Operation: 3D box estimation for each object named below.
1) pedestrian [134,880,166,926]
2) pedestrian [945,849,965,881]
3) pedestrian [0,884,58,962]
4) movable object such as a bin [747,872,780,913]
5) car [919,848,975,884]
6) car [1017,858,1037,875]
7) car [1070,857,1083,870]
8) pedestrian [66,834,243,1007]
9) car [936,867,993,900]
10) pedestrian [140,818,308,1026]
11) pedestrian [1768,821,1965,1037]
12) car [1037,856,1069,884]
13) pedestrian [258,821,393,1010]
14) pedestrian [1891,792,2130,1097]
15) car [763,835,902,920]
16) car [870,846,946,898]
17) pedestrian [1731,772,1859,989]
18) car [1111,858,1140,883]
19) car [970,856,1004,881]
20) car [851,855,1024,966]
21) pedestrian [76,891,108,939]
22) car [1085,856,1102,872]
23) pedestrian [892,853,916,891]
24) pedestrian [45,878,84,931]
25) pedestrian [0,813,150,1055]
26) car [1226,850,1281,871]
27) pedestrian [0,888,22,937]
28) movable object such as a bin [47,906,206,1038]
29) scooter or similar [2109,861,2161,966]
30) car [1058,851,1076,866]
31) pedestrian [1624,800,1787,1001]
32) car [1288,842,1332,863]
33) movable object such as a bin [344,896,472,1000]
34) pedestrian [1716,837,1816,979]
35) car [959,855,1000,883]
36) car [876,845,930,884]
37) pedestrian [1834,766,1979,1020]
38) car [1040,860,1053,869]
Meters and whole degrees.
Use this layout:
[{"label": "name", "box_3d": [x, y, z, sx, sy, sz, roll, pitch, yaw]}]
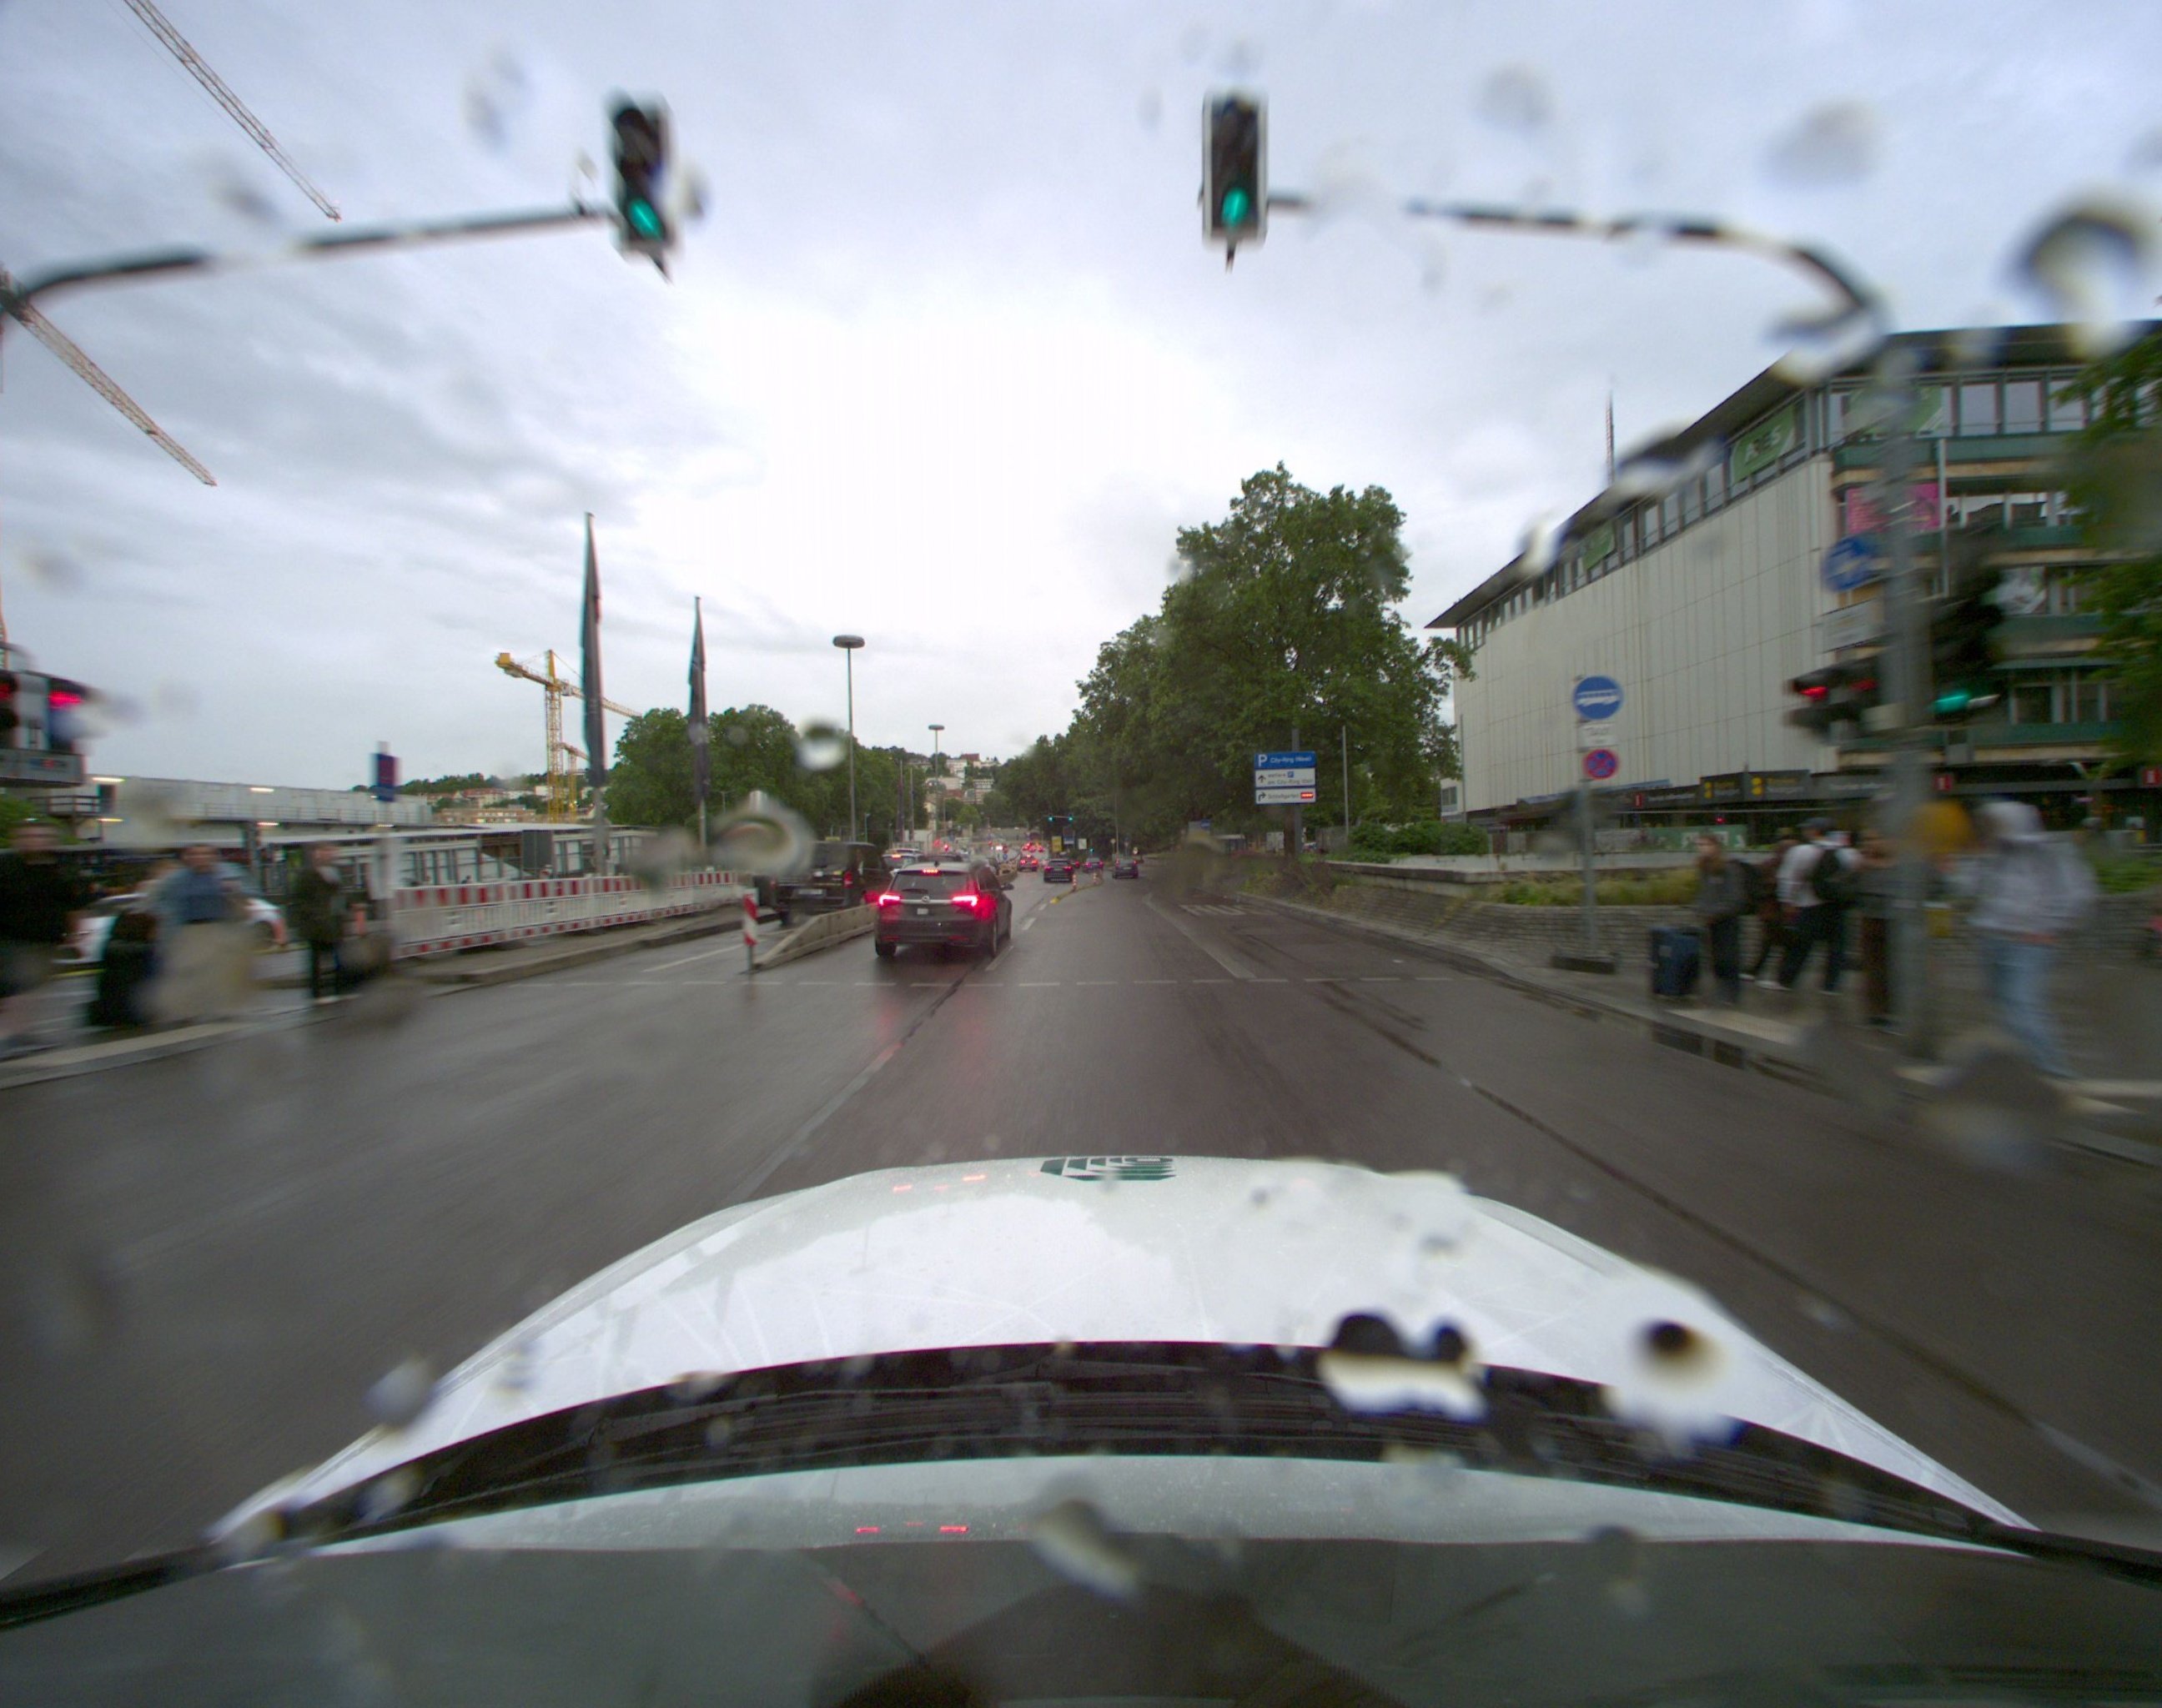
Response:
[{"label": "pedestrian", "box_3d": [-39.402, 2.077, 34.462, 0.487, 1.881, 0.801, -3, -2, 32]}, {"label": "pedestrian", "box_3d": [-8.268, 0.720, 53.382, 1.018, 2.013, 0.839, -1, 0, 11]}, {"label": "pedestrian", "box_3d": [-26.740, 1.739, 20.685, 0.708, 1.881, 0.865, -3, -2, 32]}, {"label": "movable object such as a bin", "box_3d": [-9.246, 1.121, 23.755, 0.669, 1.161, 0.766, 1, -1, -4]}, {"label": "car", "box_3d": [-5.864, 0.522, 36.131, 1.818, 1.511, 4.488, 0, -1, -1]}, {"label": "car", "box_3d": [-6.080, 1.420, 91.777, 1.992, 1.827, 3.989, 0, -1, -8]}, {"label": "car", "box_3d": [-0.589, 1.296, 110.676, 1.630, 1.624, 3.791, 0, -1, -2]}, {"label": "pedestrian", "box_3d": [-10.651, 0.730, 9.406, 0.829, 1.881, 1.029, -1, 0, 4]}, {"label": "car", "box_3d": [-5.798, 1.440, 41.080, 1.965, 1.511, 5.008, 0, -1, 2]}, {"label": "pedestrian", "box_3d": [-8.358, 0.629, 7.959, 0.995, 1.886, 0.822, -2, 0, 25]}, {"label": "pedestrian", "box_3d": [6.549, 0.594, 6.841, 0.871, 1.691, 0.759, -2, 0, 2]}, {"label": "car", "box_3d": [-1.734, 1.000, 51.829, 1.824, 1.686, 4.134, -2, 0, 1]}, {"label": "pedestrian", "box_3d": [-8.010, 0.623, 8.643, 0.995, 1.886, 0.687, -2, -1, 25]}, {"label": "pedestrian", "box_3d": [5.984, 0.536, 5.279, 0.746, 1.805, 0.706, -1, -1, -12]}, {"label": "car", "box_3d": [-5.962, 0.541, 20.230, 1.988, 1.845, 5.059, 0, -1, -1]}, {"label": "car", "box_3d": [-6.108, 0.612, 29.280, 1.818, 1.696, 4.771, 0, -1, -1]}, {"label": "pedestrian", "box_3d": [7.423, 0.268, 8.503, 0.703, 2.146, 0.724, -2, -1, 16]}, {"label": "car", "box_3d": [3.076, 1.125, 57.042, 1.845, 1.717, 4.000, 0, -1, 1]}, {"label": "car", "box_3d": [-6.501, 0.992, 56.818, 1.989, 1.530, 4.148, -3, -1, -3]}, {"label": "car", "box_3d": [-2.166, 0.800, 13.726, 1.870, 1.508, 4.854, -1, 0, 2]}, {"label": "pedestrian", "box_3d": [-40.518, 2.495, 33.376, 0.632, 1.881, 0.737, -3, -2, 32]}, {"label": "car", "box_3d": [1.283, 1.027, 83.194, 1.668, 1.581, 3.241, 0, -1, 2]}, {"label": "pedestrian", "box_3d": [-8.419, 0.839, 38.716, 0.829, 1.784, 1.029, -1, 0, 4]}, {"label": "pedestrian", "box_3d": [-37.339, 1.838, 29.924, 0.653, 1.881, 0.806, -3, -2, 32]}, {"label": "pedestrian", "box_3d": [-8.527, 0.630, 6.720, 0.829, 1.886, 0.689, -2, 0, -8]}, {"label": "car", "box_3d": [12.567, 0.472, 59.455, 3.573, 1.506, 1.745, -1, -1, 41]}, {"label": "pedestrian", "box_3d": [-42.656, 2.319, 32.253, 0.651, 1.881, 0.809, -3, -2, 32]}, {"label": "movable object such as a bin", "box_3d": [-8.694, 1.034, 7.434, 0.736, 1.076, 0.753, -2, 0, 25]}, {"label": "scooter or similar", "box_3d": [12.715, 0.694, 9.356, 0.350, 1.217, 1.158, 0, -1, 1]}, {"label": "car", "box_3d": [-1.541, 0.547, 93.017, 1.897, 1.717, 4.000, 0, -1, 1]}, {"label": "pedestrian", "box_3d": [6.113, 0.426, 8.019, 0.787, 1.839, 0.946, -1, -1, -12]}, {"label": "car", "box_3d": [22.522, -0.105, 80.119, 4.675, 2.014, 2.107, 0, -1, -44]}, {"label": "movable object such as a bin", "box_3d": [-7.681, 1.041, 9.305, 0.995, 1.076, 0.753, -2, 0, 25]}, {"label": "pedestrian", "box_3d": [7.763, 0.592, 9.259, 0.651, 1.555, 0.637, -1, -1, 16]}, {"label": "car", "box_3d": [-6.370, 0.929, 51.547, 1.988, 1.567, 4.873, -3, -1, -1]}, {"label": "car", "box_3d": [-9.733, 0.587, 44.835, 1.989, 2.014, 5.364, 0, -1, -2]}, {"label": "pedestrian", "box_3d": [7.365, 0.326, 7.289, 0.554, 2.146, 0.665, -1, -1, -12]}, {"label": "car", "box_3d": [-5.813, 1.731, 136.773, 1.813, 1.574, 3.989, 0, -1, -8]}]
